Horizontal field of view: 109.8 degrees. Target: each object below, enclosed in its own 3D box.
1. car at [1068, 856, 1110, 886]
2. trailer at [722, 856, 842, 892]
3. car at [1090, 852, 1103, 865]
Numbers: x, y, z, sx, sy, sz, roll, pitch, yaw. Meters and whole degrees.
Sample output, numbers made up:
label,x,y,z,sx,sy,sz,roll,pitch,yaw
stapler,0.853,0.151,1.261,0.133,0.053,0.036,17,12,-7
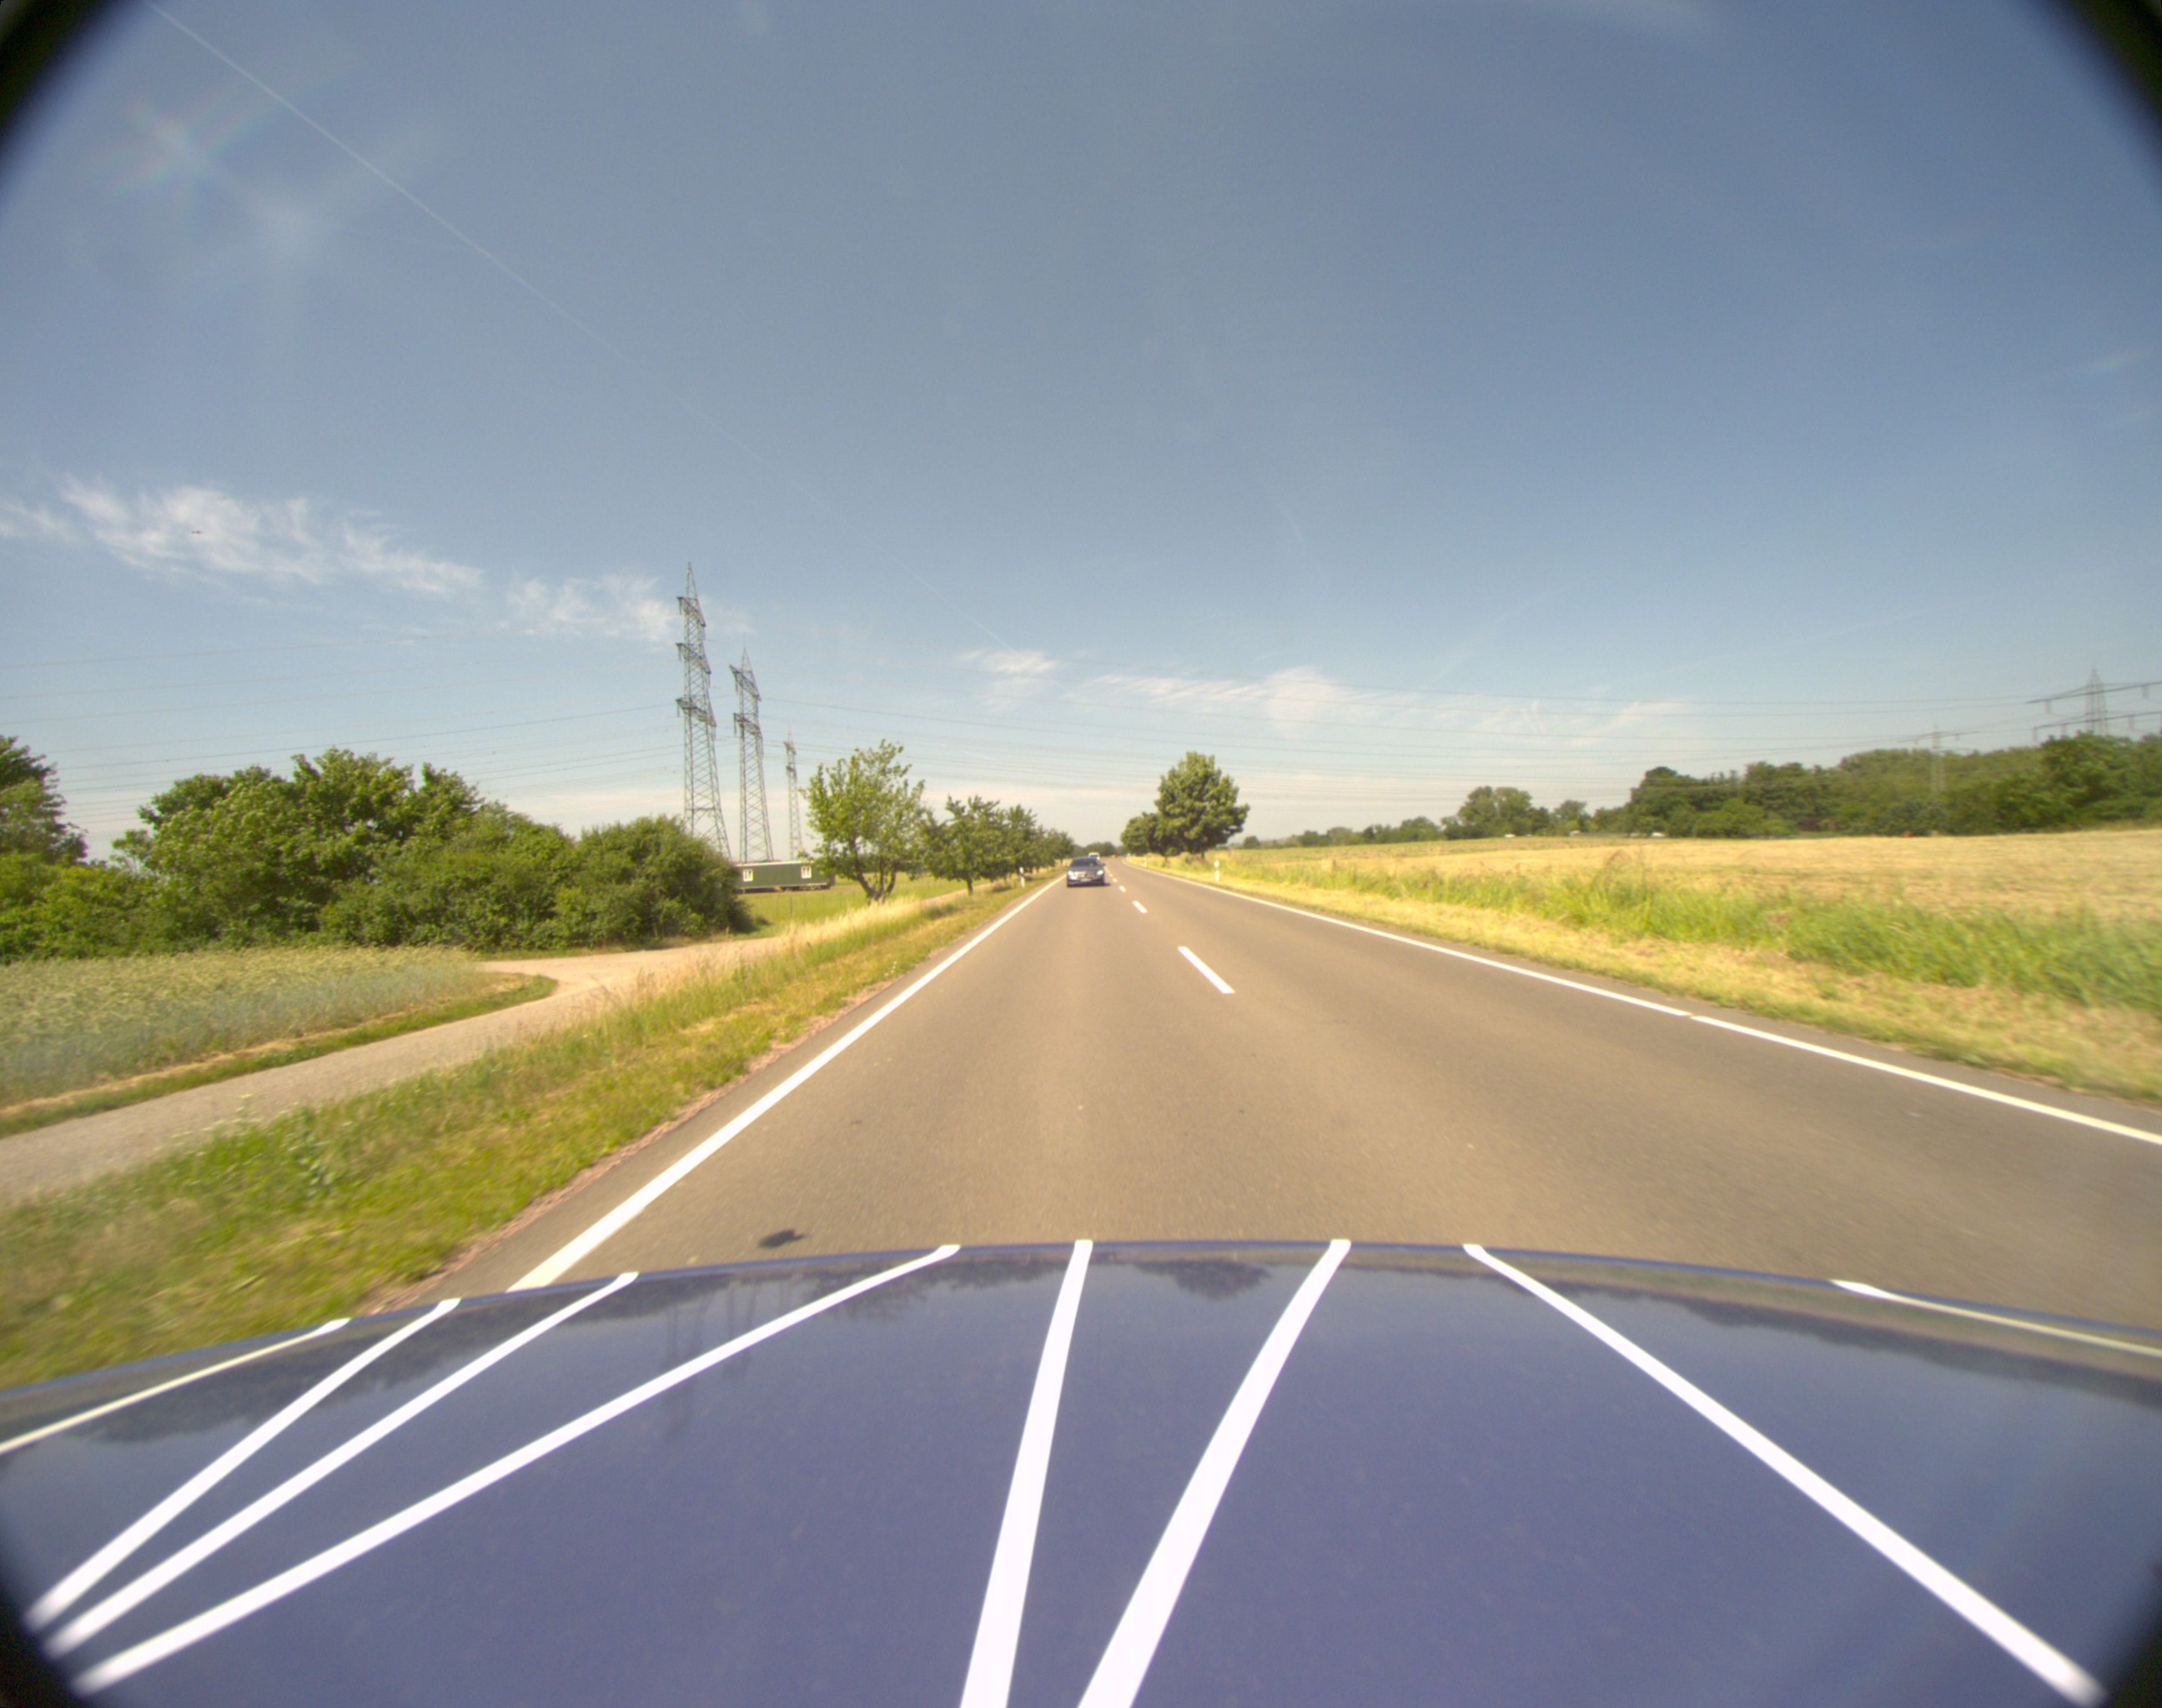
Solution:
label,x,y,z,sx,sy,sz,roll,pitch,yaw
car,0.373,0.832,38.416,1.954,1.391,3.999,-1,0,0
trailer,-34.998,2.333,89.379,12.441,3.452,3.805,-3,0,2
car,2.565,0.749,124.558,1.998,1.907,4.206,-3,0,1
